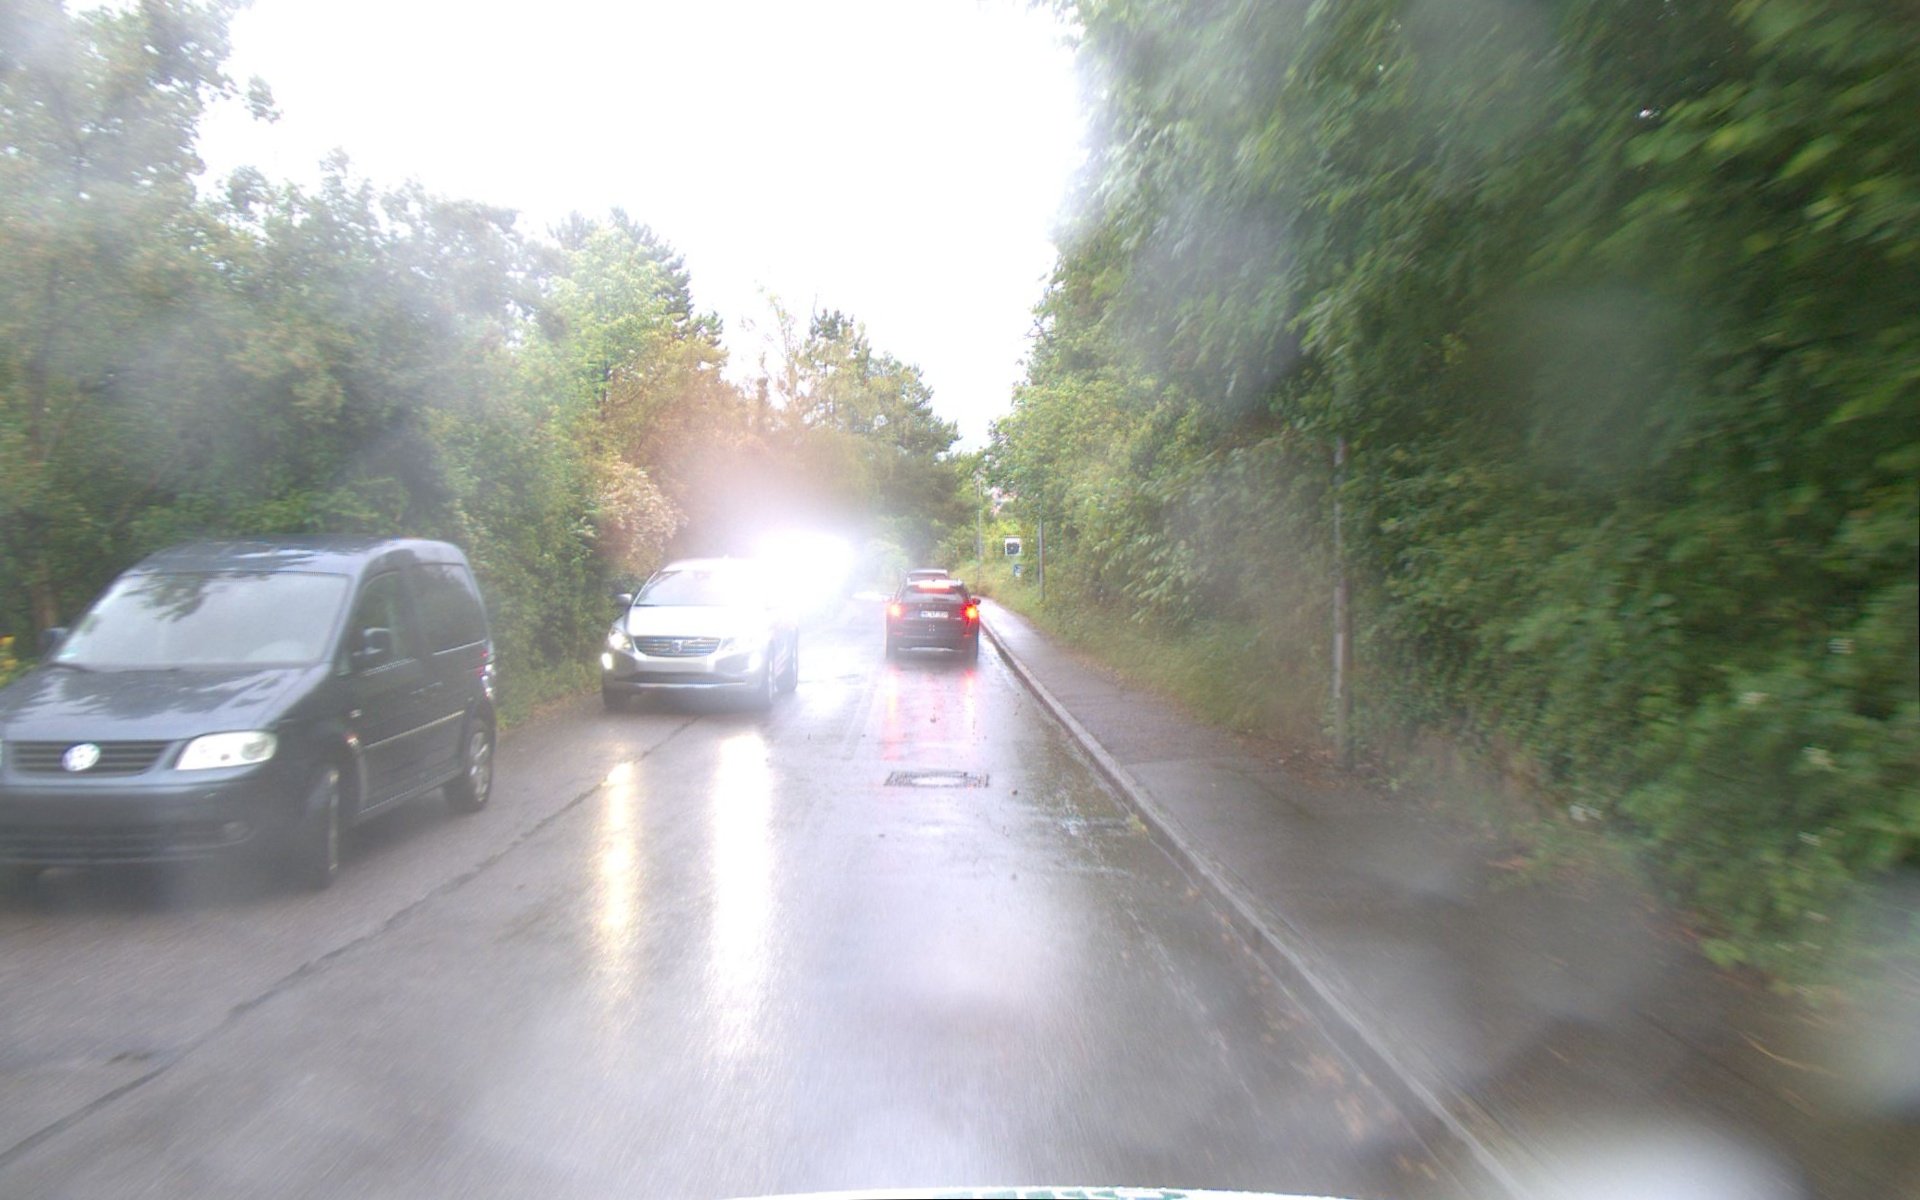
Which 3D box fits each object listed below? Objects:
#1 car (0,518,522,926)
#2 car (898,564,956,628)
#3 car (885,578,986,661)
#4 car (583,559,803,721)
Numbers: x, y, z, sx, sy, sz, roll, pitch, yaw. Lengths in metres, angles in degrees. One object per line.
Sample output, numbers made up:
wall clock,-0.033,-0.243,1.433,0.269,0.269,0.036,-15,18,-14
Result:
car,-3.915,0.512,9.547,1.655,1.814,4.232,-1,1,-1
car,-1.098,-0.092,53.641,1.825,1.774,3.997,0,-4,-2
car,-0.523,0.325,31.532,1.666,1.475,3.997,-1,1,-4
car,-3.022,0.369,19.606,2.007,1.629,4.228,2,2,-2
